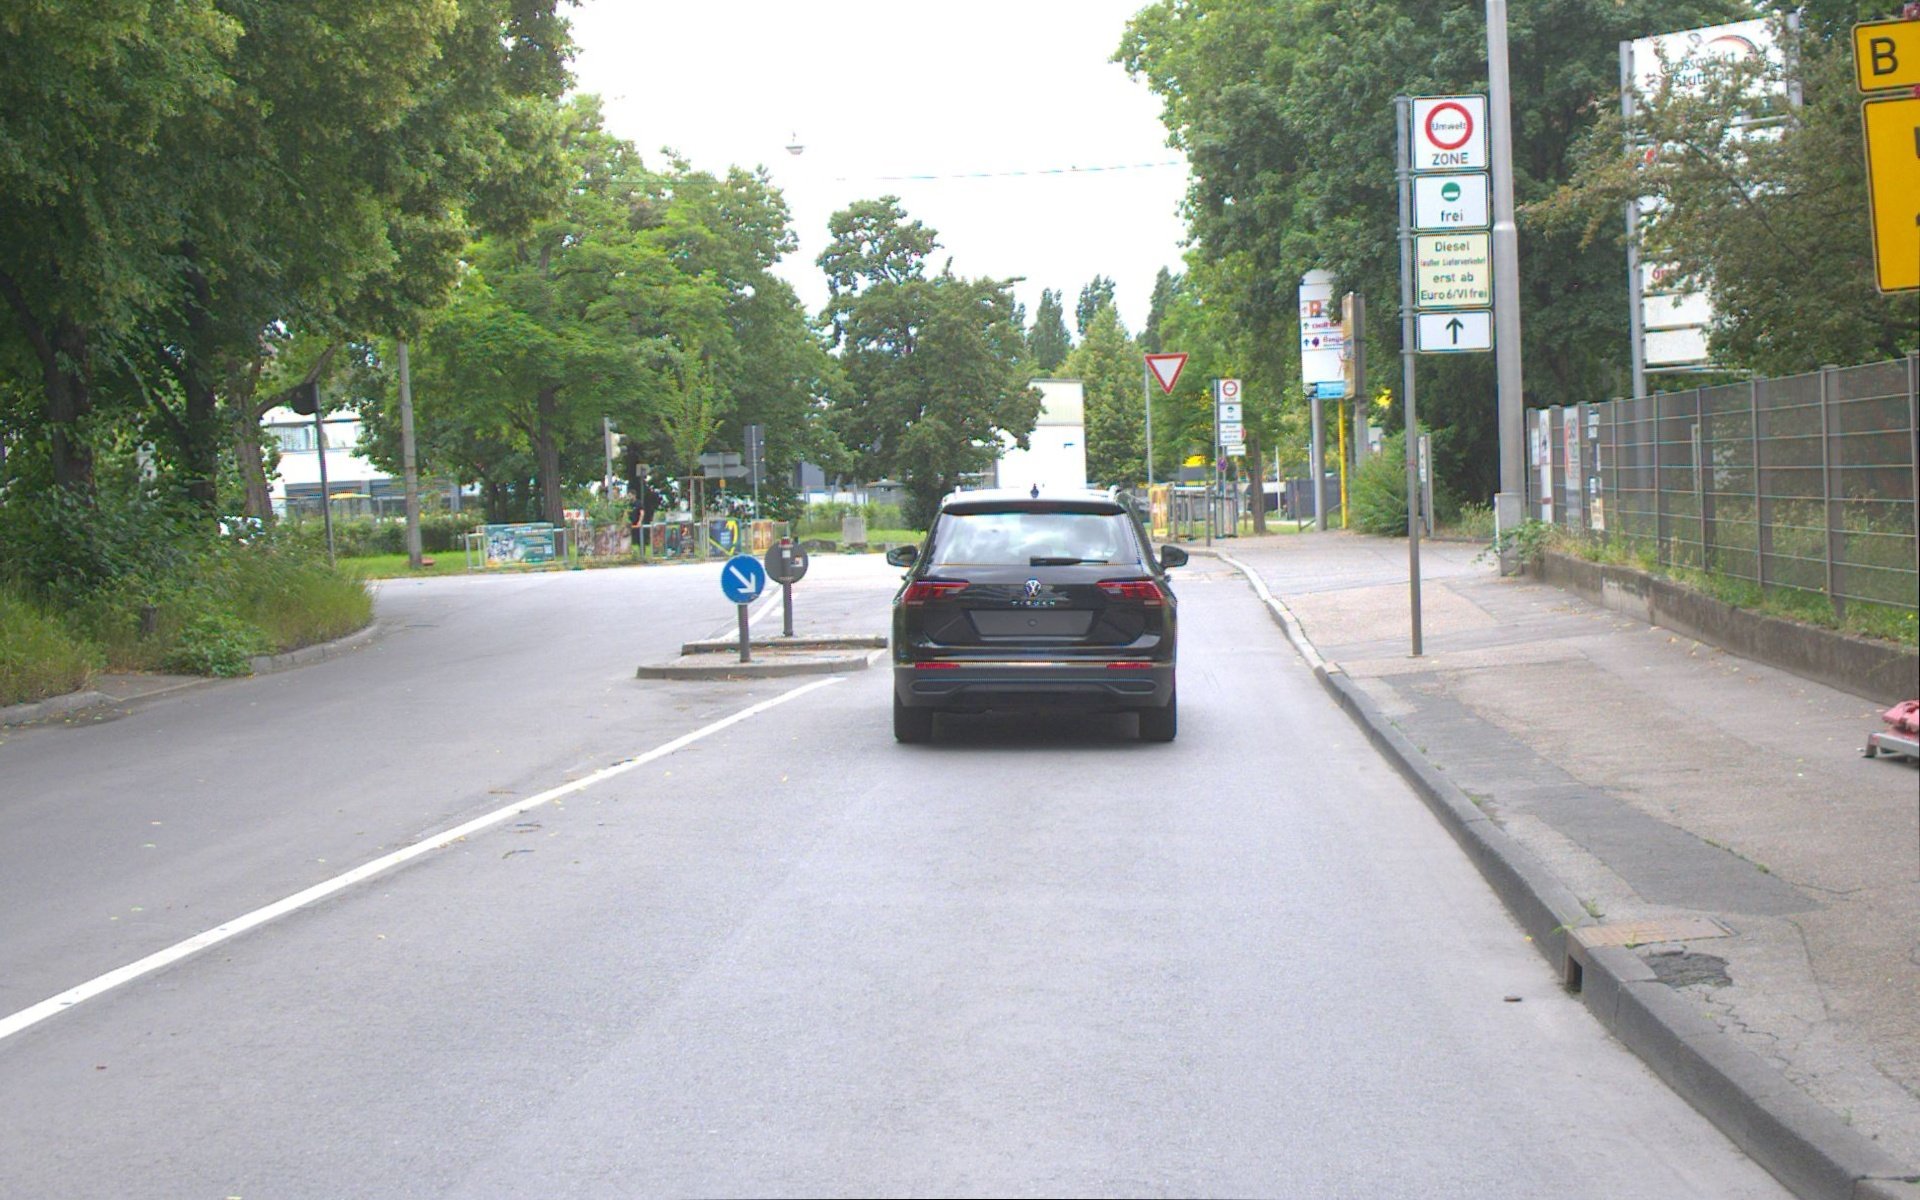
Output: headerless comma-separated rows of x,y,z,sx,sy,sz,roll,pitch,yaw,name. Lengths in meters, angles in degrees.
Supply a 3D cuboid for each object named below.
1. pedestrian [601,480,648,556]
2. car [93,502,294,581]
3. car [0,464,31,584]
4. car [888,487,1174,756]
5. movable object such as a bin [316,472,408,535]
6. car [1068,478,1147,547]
-7.936,-1.938,81.262,0.743,1.736,0.726,0,3,43,pedestrian
-15.466,-1.193,69.358,3.604,1.404,1.742,-3,2,-25,car
-21.977,-1.415,68.830,6.070,2.379,2.395,-2,2,-4,car
0.444,0.071,22.790,1.739,1.612,3.641,0,2,0,car
-20.138,-3.247,115.797,1.996,2.006,2.396,-1,2,24,movable object such as a bin
3.625,-2.153,84.113,1.659,1.569,3.828,-3,2,5,car
